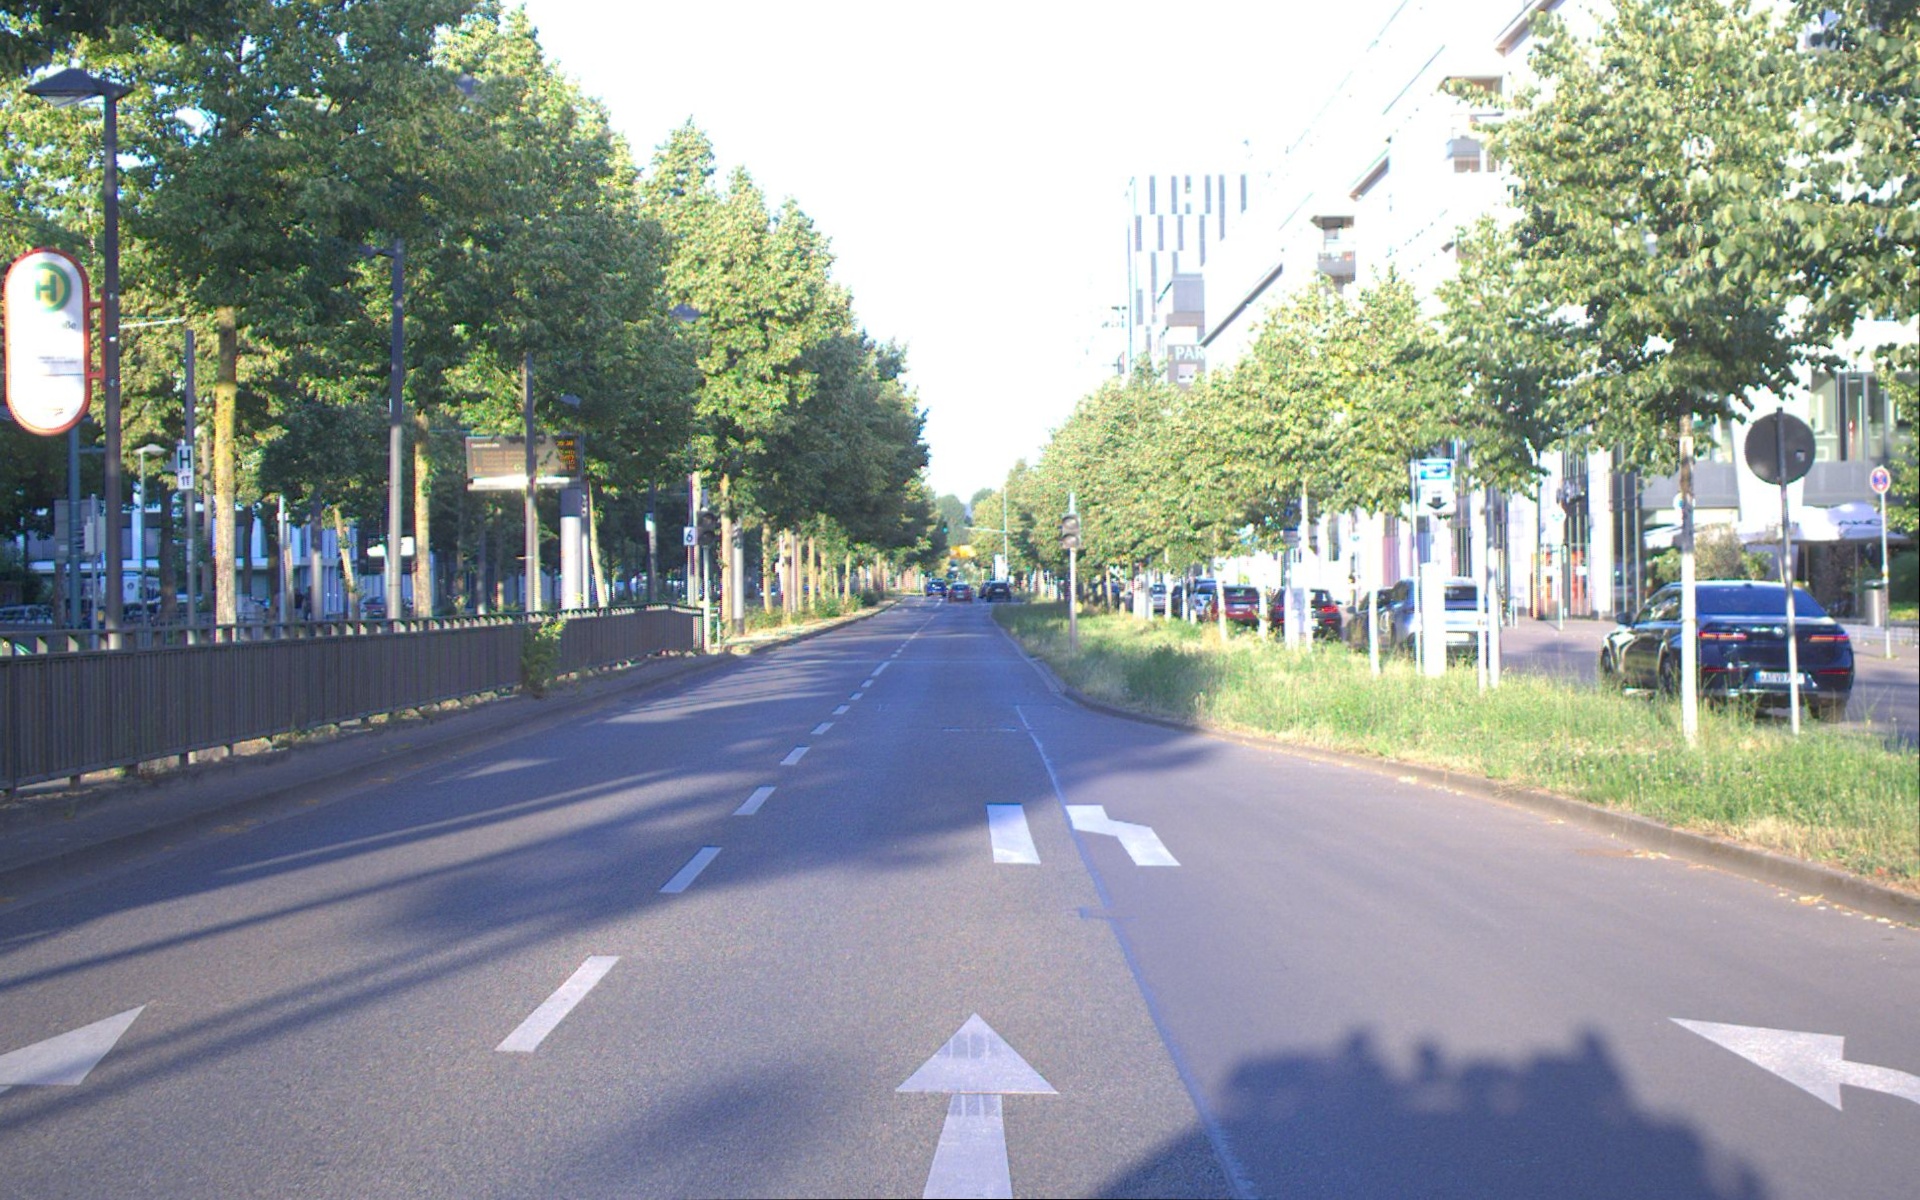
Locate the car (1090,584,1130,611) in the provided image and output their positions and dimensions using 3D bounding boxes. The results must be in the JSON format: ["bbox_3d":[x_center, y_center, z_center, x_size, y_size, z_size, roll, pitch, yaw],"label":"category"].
[{"bbox_3d":[8.771,-0.123,201.047,1.943,1.543,4.812,-1,0,-2],"label":"car"}]

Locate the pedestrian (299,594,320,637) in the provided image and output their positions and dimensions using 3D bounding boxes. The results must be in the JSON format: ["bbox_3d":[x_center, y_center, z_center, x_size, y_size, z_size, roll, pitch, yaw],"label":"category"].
[{"bbox_3d":[-26.793,0.649,141.522,0.693,1.737,0.866,-1,0,-2],"label":"pedestrian"}]

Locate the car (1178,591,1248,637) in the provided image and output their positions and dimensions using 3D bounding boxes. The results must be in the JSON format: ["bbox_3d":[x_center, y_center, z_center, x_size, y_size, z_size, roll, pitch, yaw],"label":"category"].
[{"bbox_3d":[8.498,0.456,115.803,1.921,1.496,5.010,-1,0,-1],"label":"car"}]

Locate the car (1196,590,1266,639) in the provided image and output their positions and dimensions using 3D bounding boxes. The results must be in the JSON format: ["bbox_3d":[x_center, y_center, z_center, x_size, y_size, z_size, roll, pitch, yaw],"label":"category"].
[{"bbox_3d":[8.518,0.446,108.270,1.808,1.496,3.959,-1,0,-1],"label":"car"}]

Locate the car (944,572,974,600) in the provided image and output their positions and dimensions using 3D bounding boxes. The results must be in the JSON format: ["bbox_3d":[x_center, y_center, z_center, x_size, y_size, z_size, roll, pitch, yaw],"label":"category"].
[{"bbox_3d":[-0.050,-0.995,245.907,2.087,2.007,4.000,-1,0,-1],"label":"car"}]

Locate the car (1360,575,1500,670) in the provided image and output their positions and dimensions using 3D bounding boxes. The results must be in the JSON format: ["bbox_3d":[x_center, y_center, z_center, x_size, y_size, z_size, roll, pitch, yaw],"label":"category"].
[{"bbox_3d":[8.372,0.378,61.573,1.808,1.626,4.676,-1,0,-1],"label":"car"}]

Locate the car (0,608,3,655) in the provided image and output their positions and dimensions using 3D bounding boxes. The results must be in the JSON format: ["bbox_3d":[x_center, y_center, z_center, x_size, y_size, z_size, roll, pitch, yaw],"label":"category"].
[{"bbox_3d":[-31.285,1.013,106.369,1.993,1.494,4.557,-1,0,1],"label":"car"}]

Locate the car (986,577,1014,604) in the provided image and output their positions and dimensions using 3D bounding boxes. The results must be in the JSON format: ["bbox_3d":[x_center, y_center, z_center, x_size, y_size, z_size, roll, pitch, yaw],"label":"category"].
[{"bbox_3d":[3.010,-0.737,260.855,1.993,2.007,4.000,-1,0,-1],"label":"car"}]

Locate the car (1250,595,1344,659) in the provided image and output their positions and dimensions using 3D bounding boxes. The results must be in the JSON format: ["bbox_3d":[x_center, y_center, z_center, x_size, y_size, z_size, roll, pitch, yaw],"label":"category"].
[{"bbox_3d":[8.269,0.639,84.702,1.808,1.496,4.368,-1,0,-1],"label":"car"}]

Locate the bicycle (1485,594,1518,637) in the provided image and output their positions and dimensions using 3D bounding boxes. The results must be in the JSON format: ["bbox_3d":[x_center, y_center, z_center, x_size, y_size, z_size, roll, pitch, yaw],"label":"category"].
[{"bbox_3d":[15.673,0.444,99.570,0.617,1.227,1.671,-1,0,-2],"label":"bicycle"}]

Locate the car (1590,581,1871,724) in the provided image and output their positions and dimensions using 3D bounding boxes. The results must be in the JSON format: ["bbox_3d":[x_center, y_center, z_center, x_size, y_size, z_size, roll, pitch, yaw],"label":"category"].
[{"bbox_3d":[8.689,0.546,39.264,1.919,1.496,5.411,-1,0,-1],"label":"car"}]

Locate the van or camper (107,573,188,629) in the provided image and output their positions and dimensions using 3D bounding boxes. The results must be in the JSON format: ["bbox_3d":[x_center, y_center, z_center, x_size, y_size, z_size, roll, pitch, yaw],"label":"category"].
[{"bbox_3d":[-45.973,0.053,194.599,2.711,3.075,6.261,0,0,4],"label":"van or camper"}]

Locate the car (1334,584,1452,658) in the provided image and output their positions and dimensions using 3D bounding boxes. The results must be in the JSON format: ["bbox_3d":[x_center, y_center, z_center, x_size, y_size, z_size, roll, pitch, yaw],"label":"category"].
[{"bbox_3d":[8.404,0.386,67.008,1.749,1.393,4.000,0,0,-1],"label":"car"}]

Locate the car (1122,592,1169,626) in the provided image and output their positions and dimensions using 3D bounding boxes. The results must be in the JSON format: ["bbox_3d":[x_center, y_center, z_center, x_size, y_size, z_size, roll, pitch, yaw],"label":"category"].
[{"bbox_3d":[8.473,0.390,157.329,1.808,1.496,4.825,-1,0,-1],"label":"car"}]

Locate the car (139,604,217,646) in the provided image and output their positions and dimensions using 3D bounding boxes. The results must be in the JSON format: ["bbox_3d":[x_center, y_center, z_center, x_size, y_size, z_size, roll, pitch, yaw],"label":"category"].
[{"bbox_3d":[-30.221,0.962,132.904,1.803,1.555,3.837,-1,0,6],"label":"car"}]
